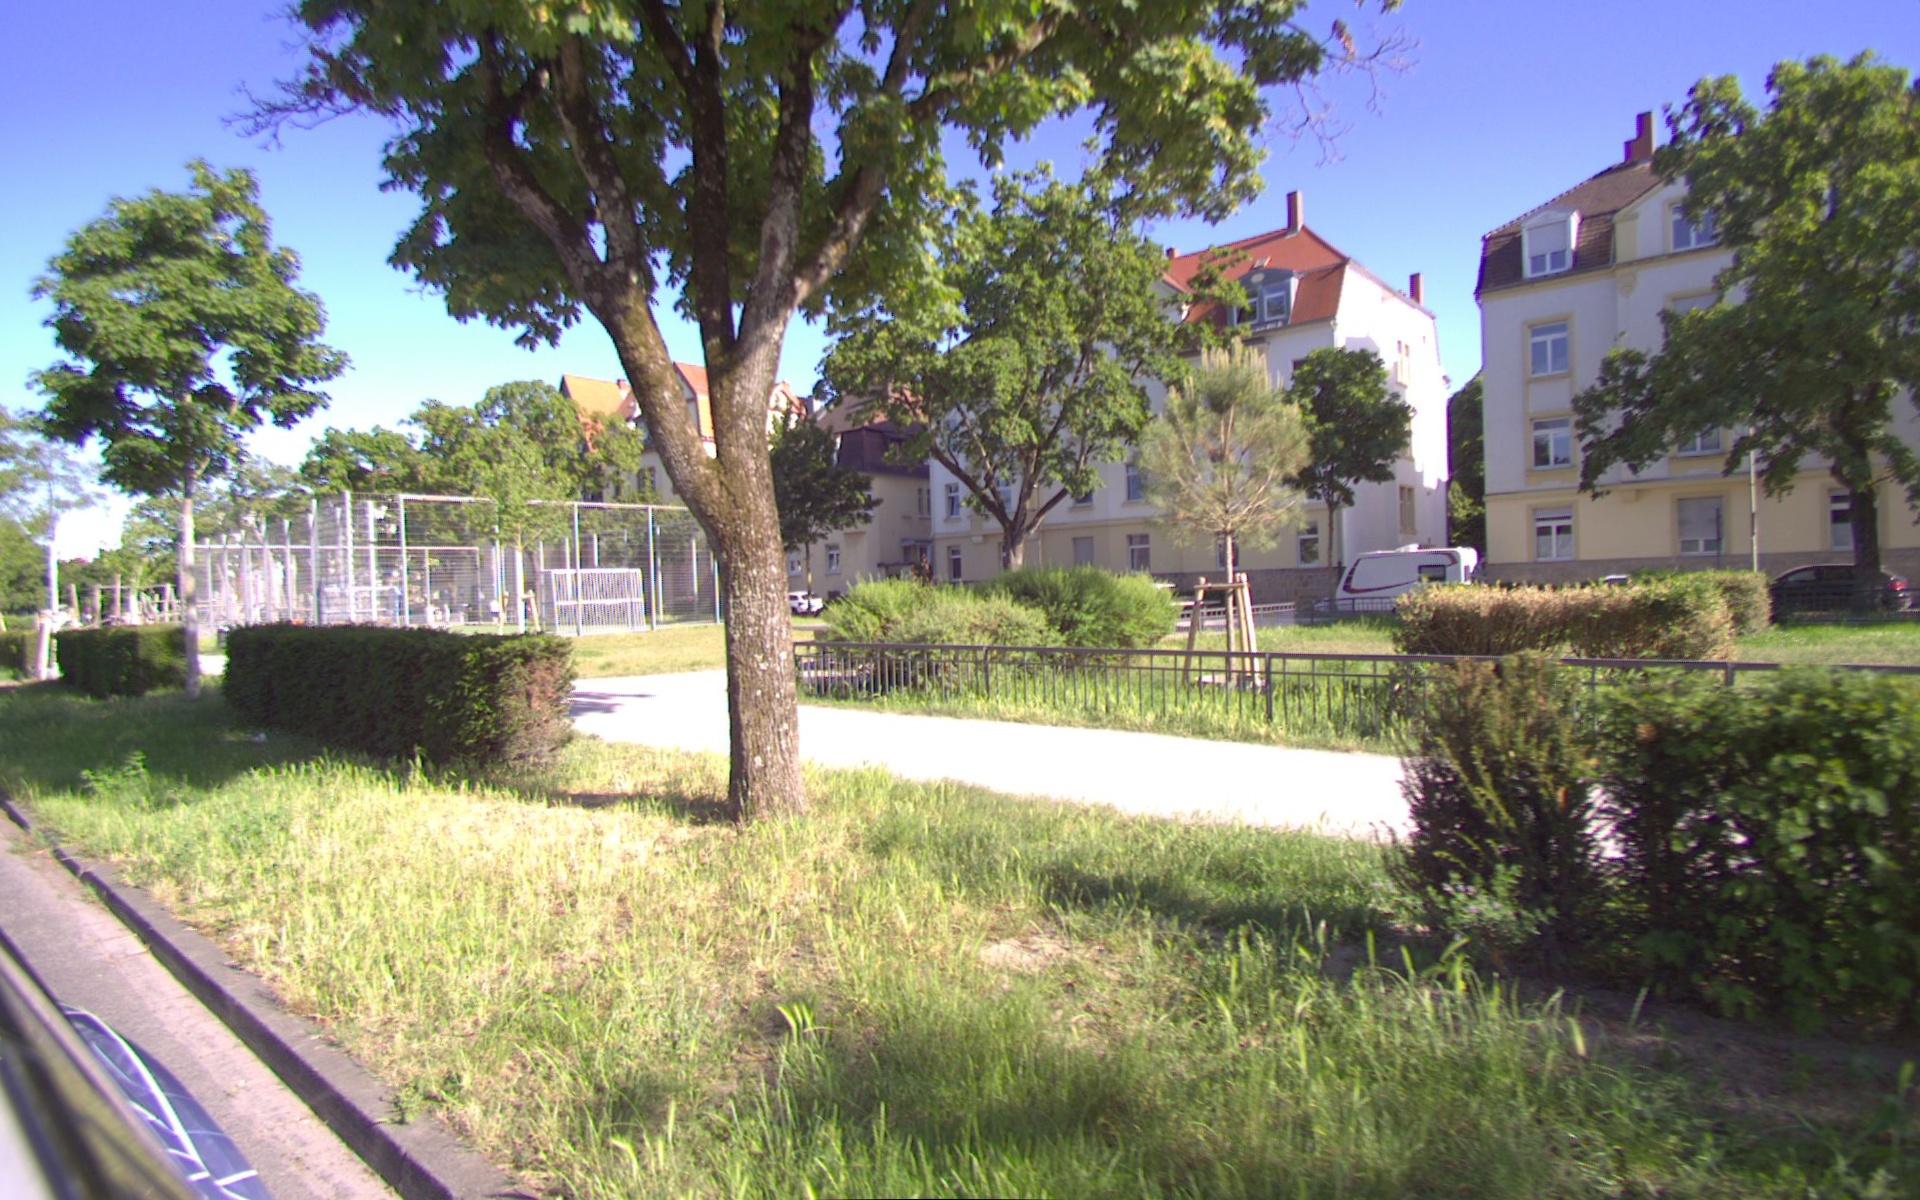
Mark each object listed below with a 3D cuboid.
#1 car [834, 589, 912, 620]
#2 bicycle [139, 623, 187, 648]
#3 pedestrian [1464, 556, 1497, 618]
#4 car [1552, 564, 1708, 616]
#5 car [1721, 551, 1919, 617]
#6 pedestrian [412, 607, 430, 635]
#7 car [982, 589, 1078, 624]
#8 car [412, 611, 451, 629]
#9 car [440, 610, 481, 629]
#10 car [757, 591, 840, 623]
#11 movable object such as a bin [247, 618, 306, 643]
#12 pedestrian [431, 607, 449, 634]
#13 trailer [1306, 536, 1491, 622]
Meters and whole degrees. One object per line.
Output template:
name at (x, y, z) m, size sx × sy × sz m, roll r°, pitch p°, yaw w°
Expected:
car at (-4.792, 0.261, 55.292) m, size 4.229 × 1.521 × 1.776 m, roll -2°, pitch 1°, yaw 41°
bicycle at (-39.933, 1.775, 50.708) m, size 0.499 × 1.116 × 1.777 m, roll -2°, pitch 0°, yaw 39°
pedestrian at (14.192, -0.353, 27.600) m, size 0.650 × 1.674 × 0.641 m, roll -2°, pitch 0°, yaw 41°
car at (21.728, -0.298, 32.878) m, size 3.998 × 1.521 × 1.776 m, roll -2°, pitch 1°, yaw 42°
car at (25.045, -0.432, 29.431) m, size 4.496 × 1.745 × 1.775 m, roll -2°, pitch 1°, yaw 41°
pedestrian at (-26.248, 1.028, 49.248) m, size 0.639 × 1.328 × 0.652 m, roll -2°, pitch 0°, yaw -20°
car at (3.293, 0.343, 48.305) m, size 4.345 × 1.521 × 1.776 m, roll -2°, pitch 1°, yaw 41°
car at (-48.551, 1.865, 92.939) m, size 3.998 × 1.566 × 1.776 m, roll -2°, pitch 1°, yaw 41°
car at (-44.096, 1.753, 89.249) m, size 3.998 × 1.566 × 1.776 m, roll -2°, pitch 1°, yaw 41°
car at (-9.456, 0.421, 58.908) m, size 5.180 × 1.664 × 1.862 m, roll -2°, pitch 1°, yaw 41°
movable object such as a bin at (-35.858, 1.587, 53.120) m, size 1.054 × 1.251 × 2.309 m, roll -2°, pitch -1°, yaw 37°
pedestrian at (-25.462, 0.997, 49.554) m, size 0.639 × 1.328 × 0.652 m, roll -2°, pitch 0°, yaw -20°
trailer at (16.136, -0.718, 37.467) m, size 5.798 × 2.891 × 2.319 m, roll -2°, pitch 1°, yaw 40°
